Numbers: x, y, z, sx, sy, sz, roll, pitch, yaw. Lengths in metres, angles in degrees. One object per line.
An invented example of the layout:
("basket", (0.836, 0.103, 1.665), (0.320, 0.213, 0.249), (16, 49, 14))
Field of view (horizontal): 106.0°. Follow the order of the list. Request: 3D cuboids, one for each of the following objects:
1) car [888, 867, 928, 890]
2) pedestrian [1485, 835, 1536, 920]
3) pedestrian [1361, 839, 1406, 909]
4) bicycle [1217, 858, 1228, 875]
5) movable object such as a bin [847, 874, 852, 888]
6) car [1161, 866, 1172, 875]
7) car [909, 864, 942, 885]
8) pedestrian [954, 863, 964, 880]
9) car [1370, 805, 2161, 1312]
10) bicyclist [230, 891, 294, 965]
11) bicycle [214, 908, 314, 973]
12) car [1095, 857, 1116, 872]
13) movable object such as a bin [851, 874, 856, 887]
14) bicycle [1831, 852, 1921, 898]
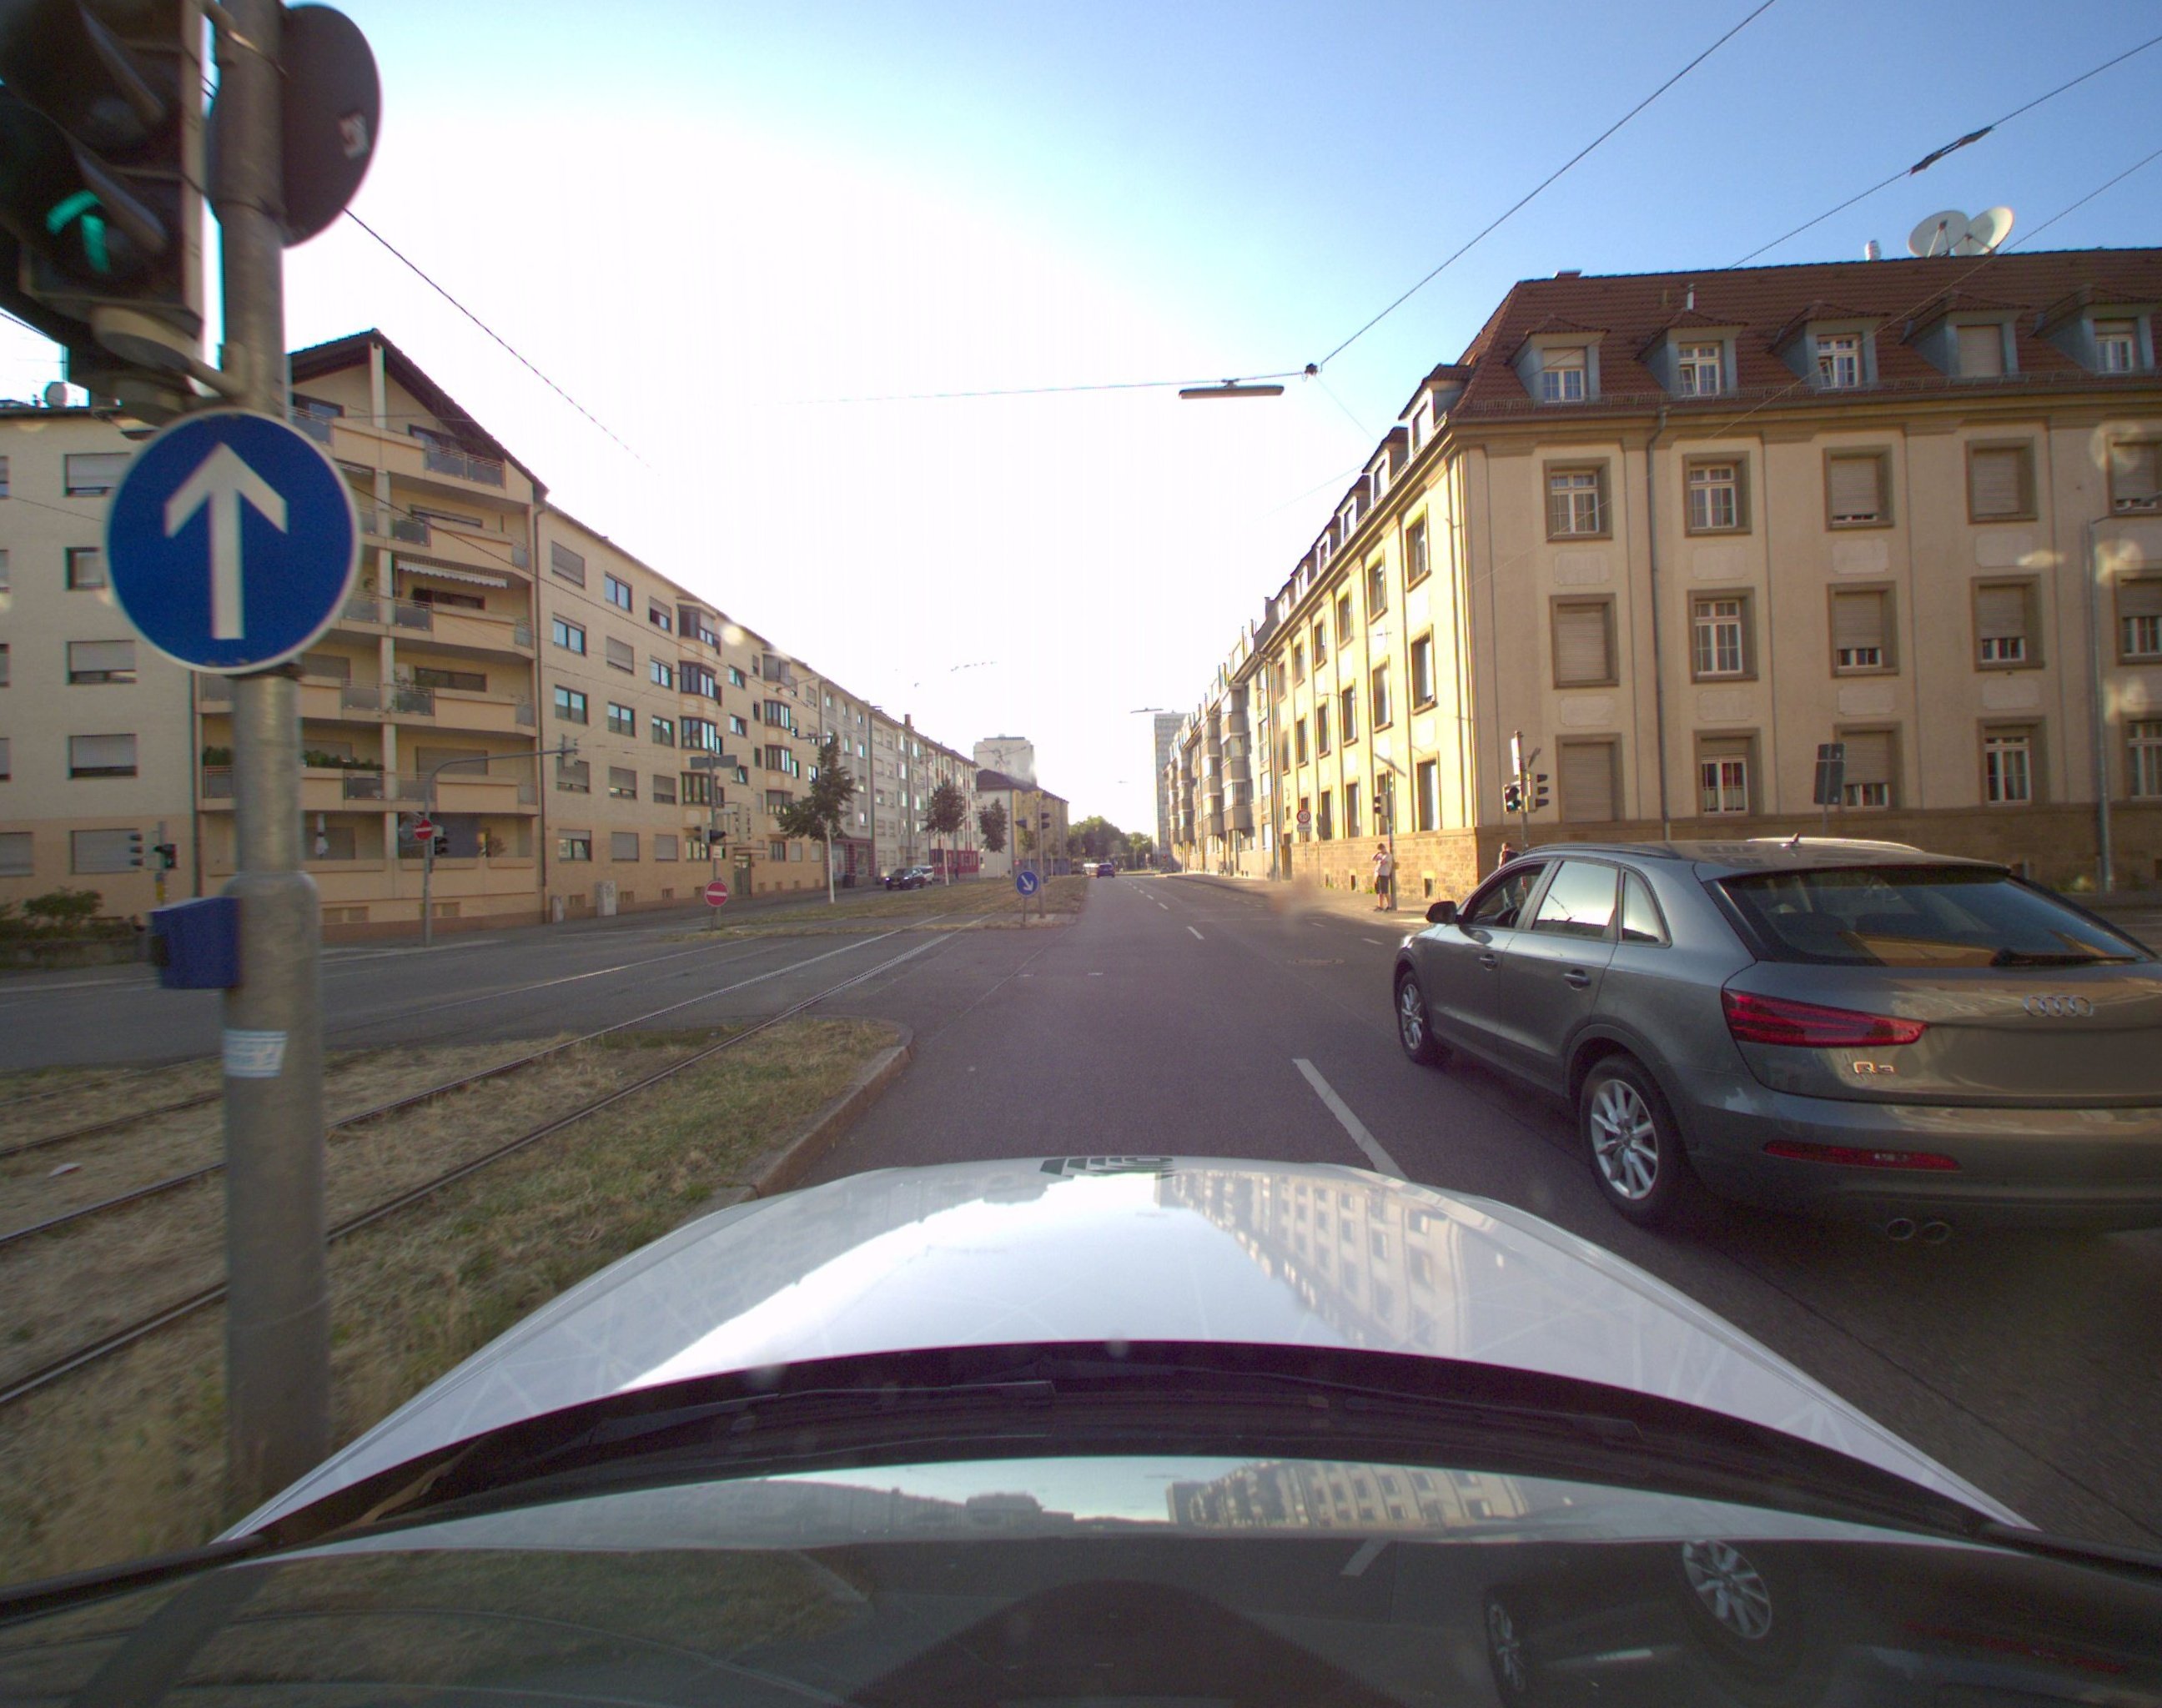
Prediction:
("car", (-13.297, 1.880, 62.859), (1.890, 1.633, 4.749), (-3, -1, 2))
("pedestrian", (9.103, 0.500, 17.296), (0.627, 1.758, 0.825), (-1, -1, 1))
("pedestrian", (7.761, 0.520, 20.946), (0.832, 1.762, 0.824), (-1, -1, 1))
("bicycle", (9.828, 0.876, 56.633), (0.382, 1.096, 1.503), (-3, -1, -1))
("movable object such as a bin", (-17.992, 2.098, 63.274), (0.297, 1.036, 0.441), (-1, -2, 0))
("car", (16.376, 3.170, 155.653), (1.982, 1.564, 4.009), (-1, -1, 8))
("car", (-14.925, 1.925, 78.402), (1.984, 1.925, 4.548), (-1, -1, 5))
("pedestrian", (-14.872, 2.130, 99.164), (0.999, 2.036, 0.888), (-1, -2, 8))
("car", (3.121, 0.651, 4.628), (1.690, 1.553, 4.229), (-1, -1, 4))
("bicyclist", (-18.552, 1.662, 18.470), (0.625, 1.586, 0.807), (-1, 0, -6))
("bicycle", (-18.529, 1.923, 18.526), (0.454, 1.257, 1.868), (-2, 0, -4))
("car", (2.465, 1.074, 81.289), (1.918, 1.456, 4.330), (-1, -1, 2))
("movable object such as a bin", (-17.870, 2.099, 63.998), (0.297, 1.036, 0.441), (-1, -2, 0))
("bicycle", (18.058, 0.492, 18.522), (1.491, 1.018, 0.251), (-1, -2, 17))
